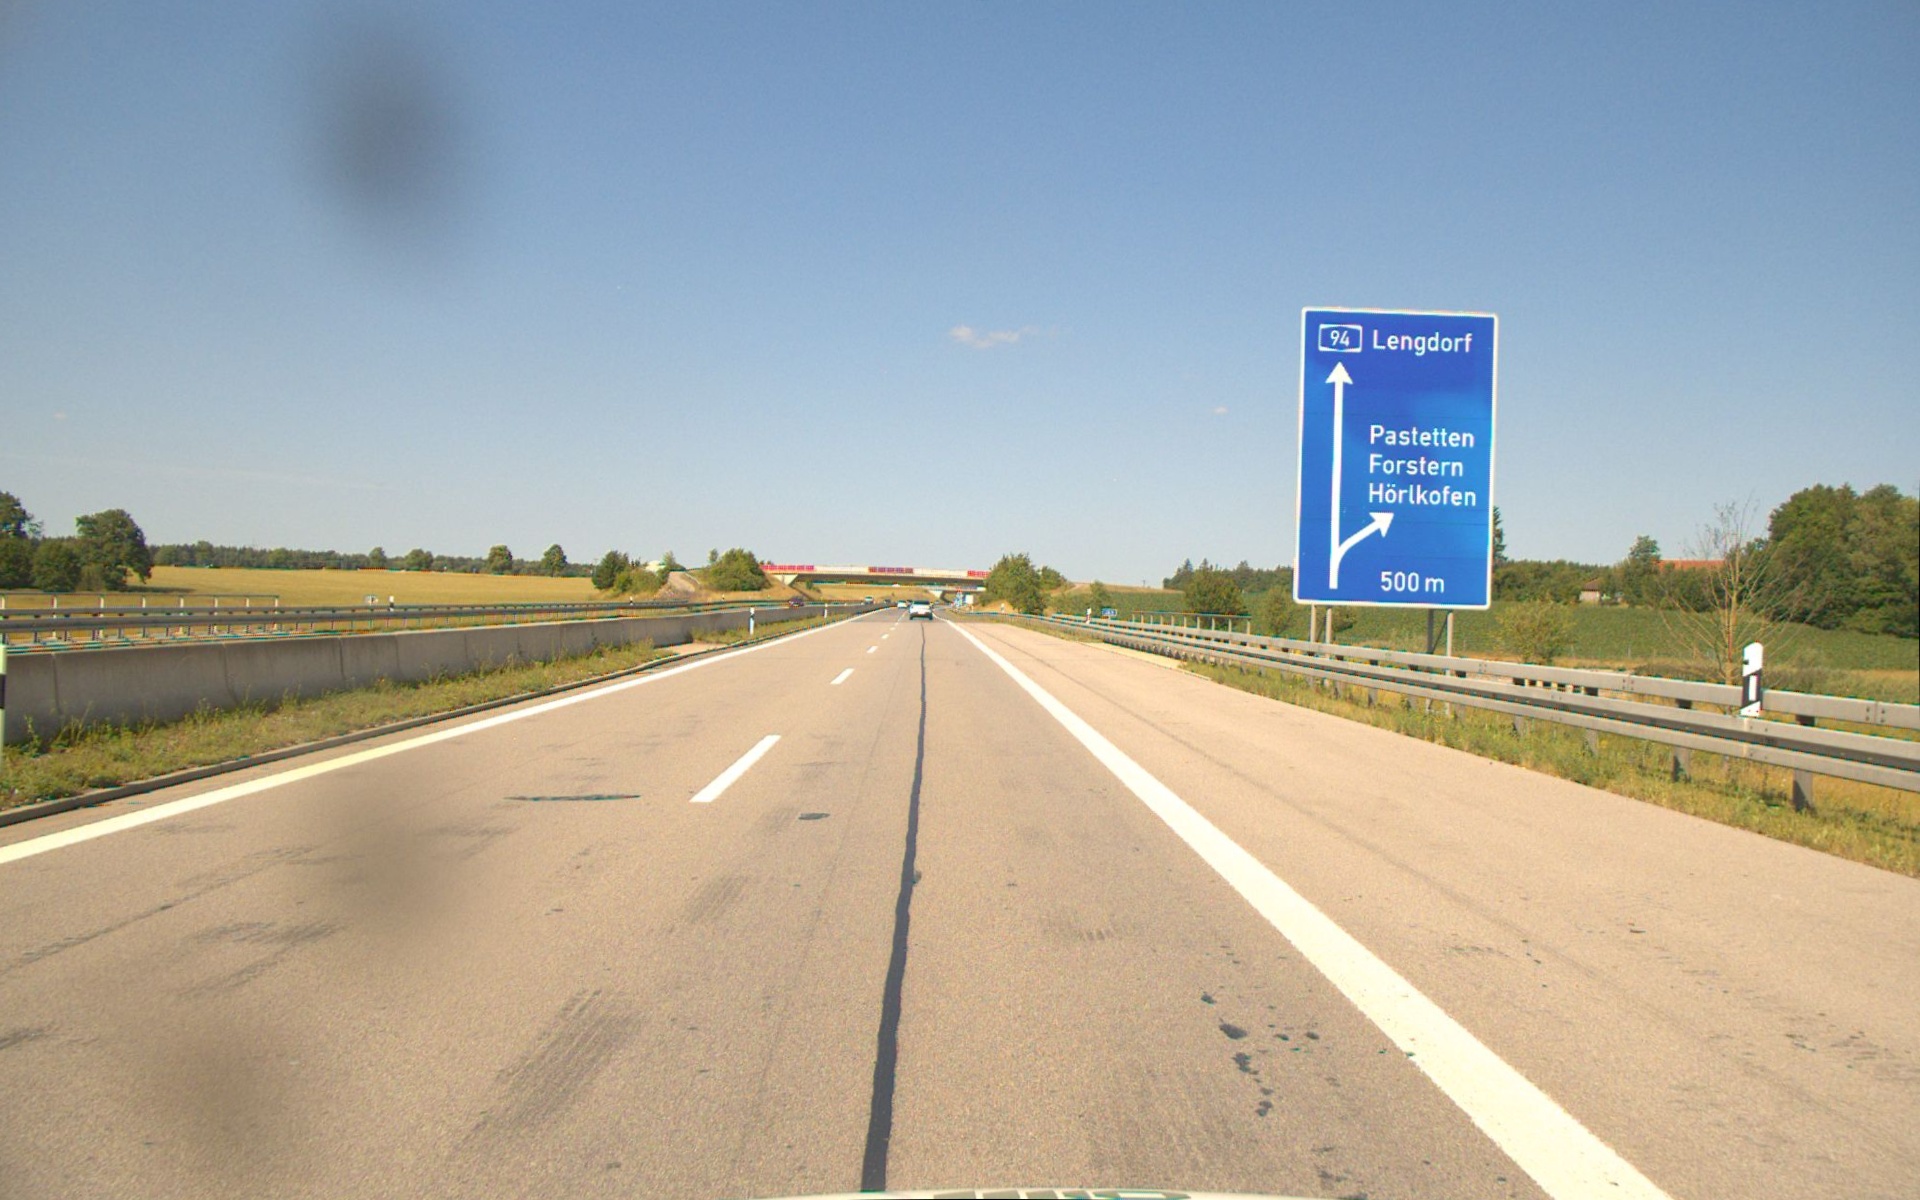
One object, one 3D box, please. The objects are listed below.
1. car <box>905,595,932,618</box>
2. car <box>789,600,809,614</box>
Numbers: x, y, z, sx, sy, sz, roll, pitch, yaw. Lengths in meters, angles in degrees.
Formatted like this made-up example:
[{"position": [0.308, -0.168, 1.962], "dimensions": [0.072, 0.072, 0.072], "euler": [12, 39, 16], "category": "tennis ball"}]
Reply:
[{"position": [-3.281, 0.506, 129.892], "dimensions": [1.954, 1.761, 4.866], "euler": [2, 0, -3], "category": "car"}, {"position": [-18.514, 0.784, 190.458], "dimensions": [1.859, 1.550, 4.804], "euler": [-1, 0, -2], "category": "car"}]
